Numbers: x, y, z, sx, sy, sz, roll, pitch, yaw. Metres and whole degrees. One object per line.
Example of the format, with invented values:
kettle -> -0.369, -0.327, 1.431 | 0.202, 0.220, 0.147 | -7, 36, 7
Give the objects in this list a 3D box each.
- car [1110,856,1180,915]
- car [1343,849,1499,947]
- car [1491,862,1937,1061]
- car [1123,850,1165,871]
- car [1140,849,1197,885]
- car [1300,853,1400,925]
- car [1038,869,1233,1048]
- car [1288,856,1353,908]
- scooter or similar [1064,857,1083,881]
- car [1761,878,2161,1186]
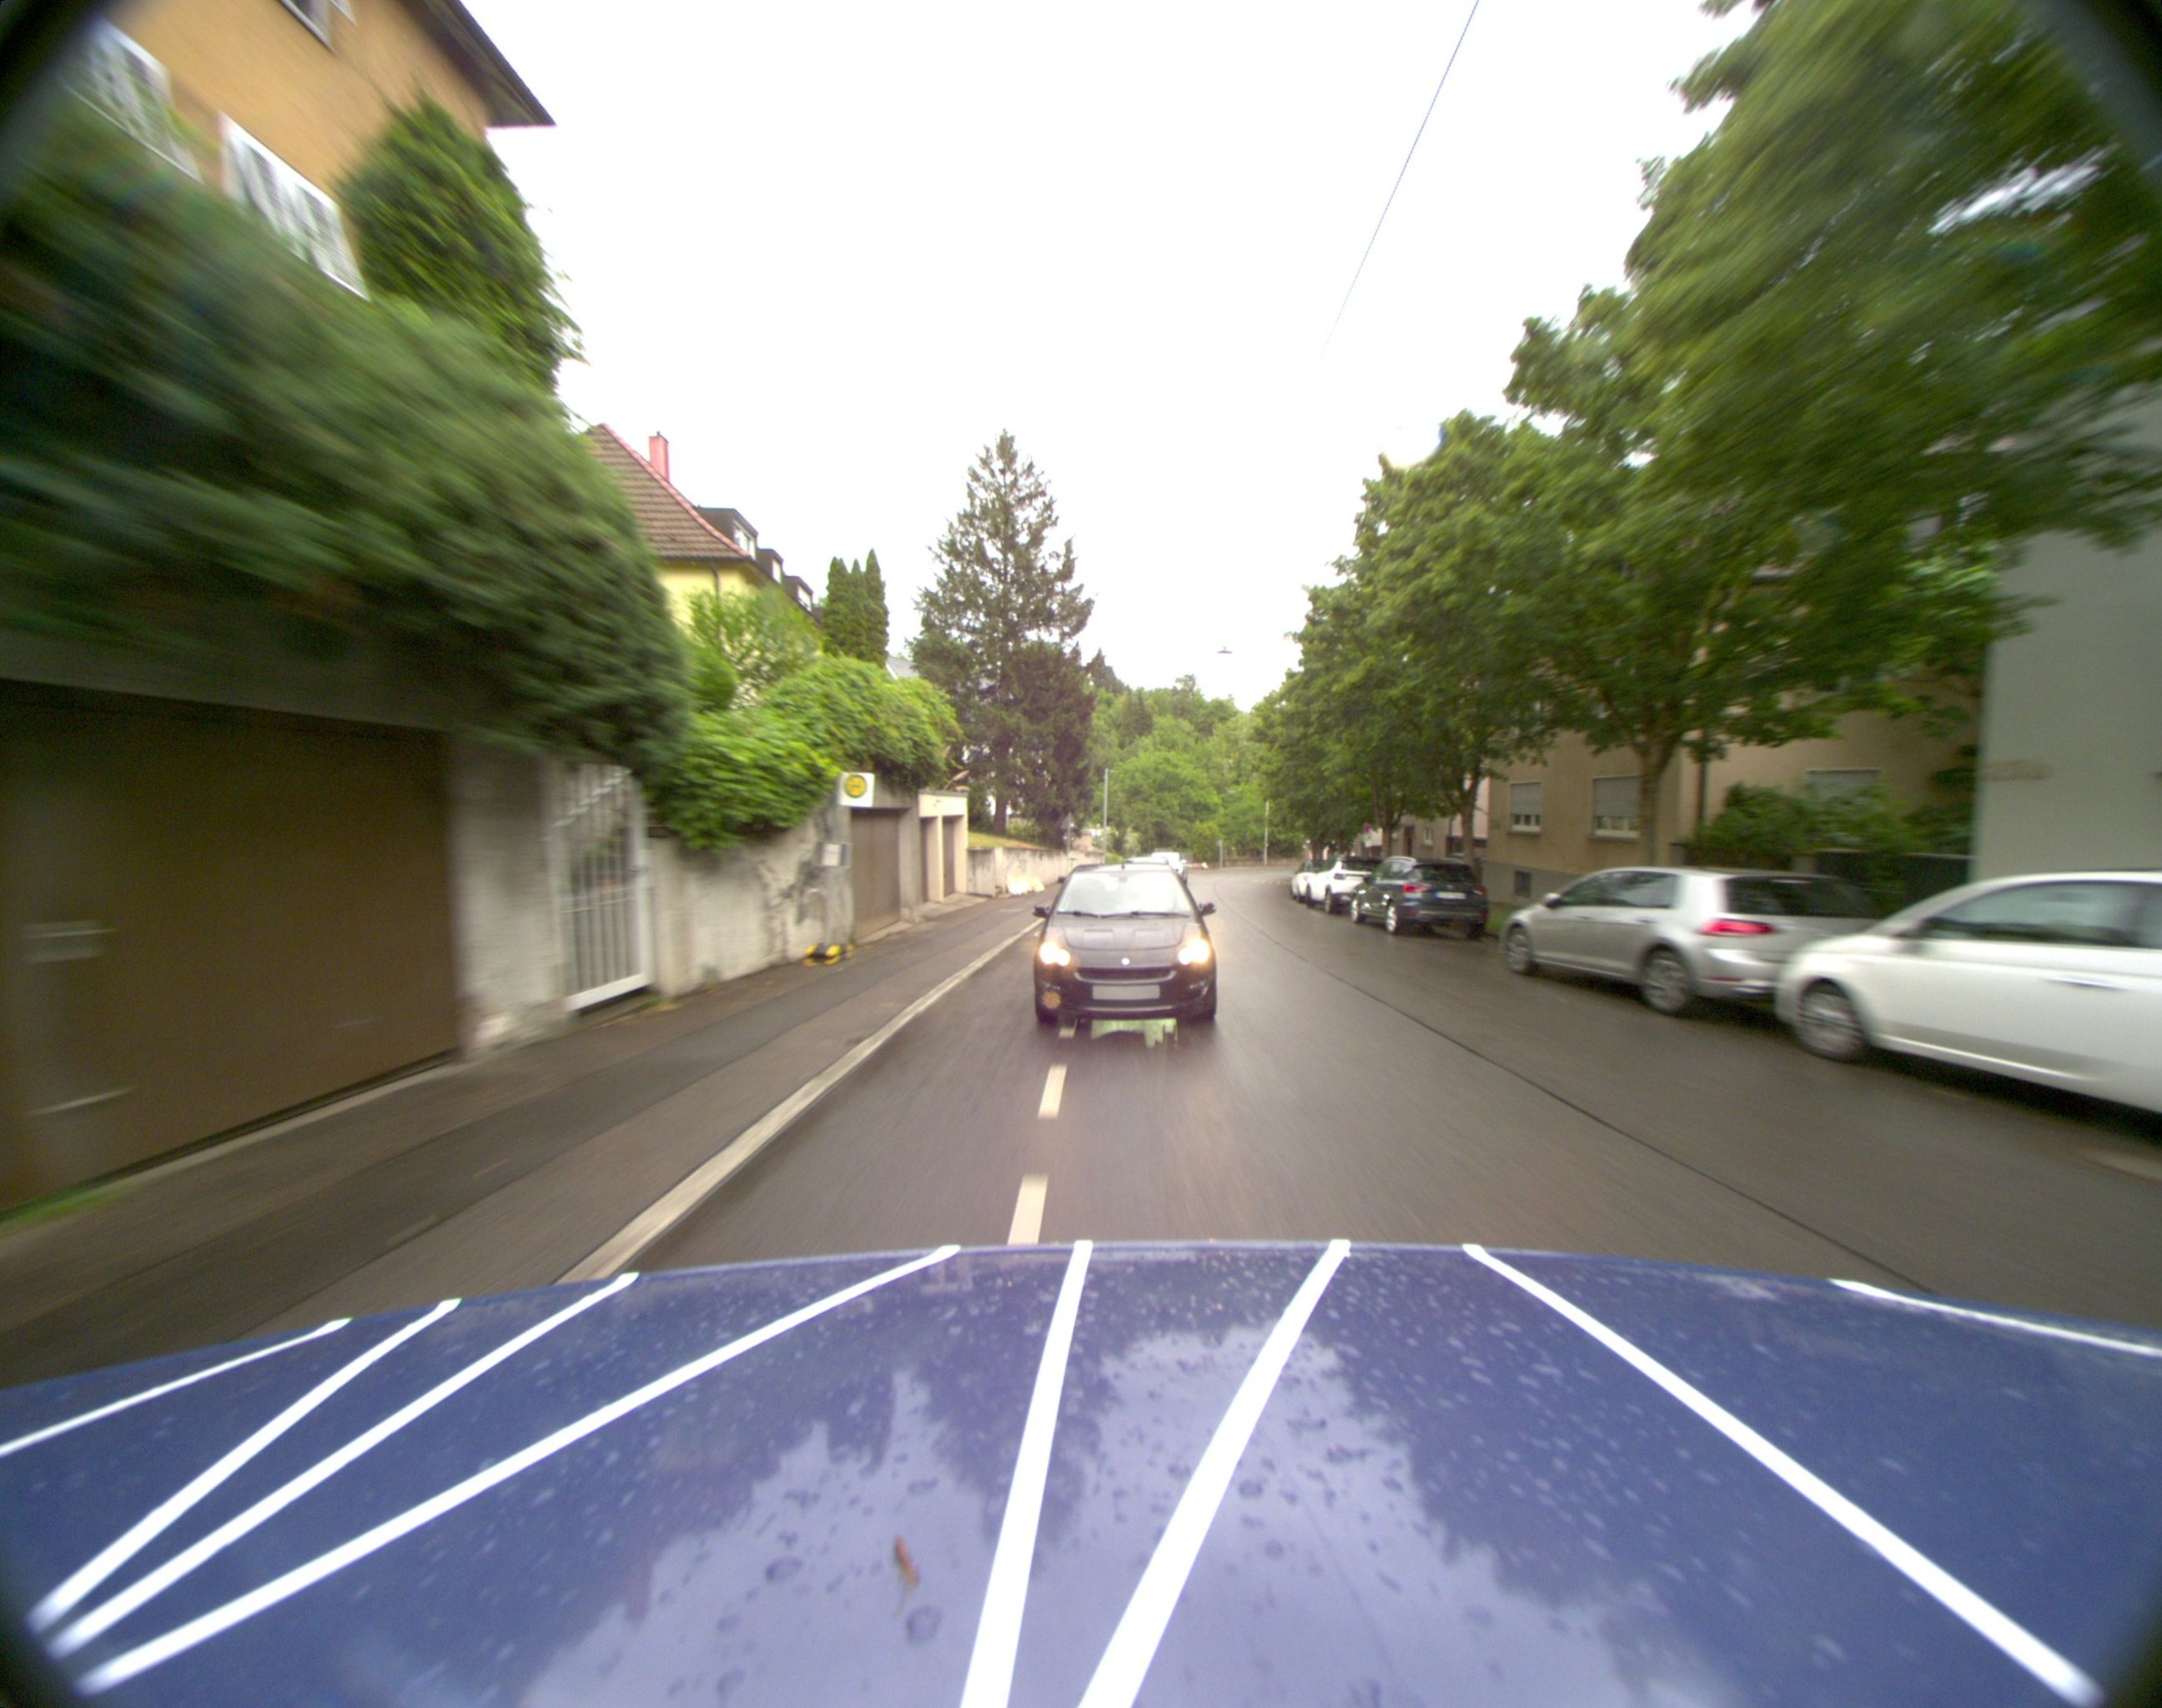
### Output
car -> 1.906, 0.834, 22.103 | 1.806, 1.480, 4.019 | 2, 0, 6
car -> 6.898, 0.797, 15.880 | 1.621, 1.649, 3.924 | 4, 1, 4
car -> 6.383, 0.924, 8.381 | 1.621, 1.462, 3.972 | 3, 1, 2
car -> 5.678, 0.549, 68.764 | 3.462, 1.623, 1.581 | 4, 2, 16
car -> 4.451, 0.611, 37.872 | 2.010, 1.652, 4.451 | 2, 0, 17
car -> 7.460, 0.902, 21.463 | 1.595, 1.649, 3.924 | 5, 1, 5
car -> 0.376, 0.933, 7.996 | 1.578, 1.443, 3.587 | 1, -2, -2
car -> 8.177, 0.905, 26.243 | 1.620, 1.463, 3.671 | 5, 1, 11
scooter or similar -> -0.351, 0.707, 36.234 | 0.599, 1.126, 1.371 | 2, 1, 11
car -> 6.285, 0.975, 4.434 | 1.577, 1.480, 3.470 | 3, 0, 4
